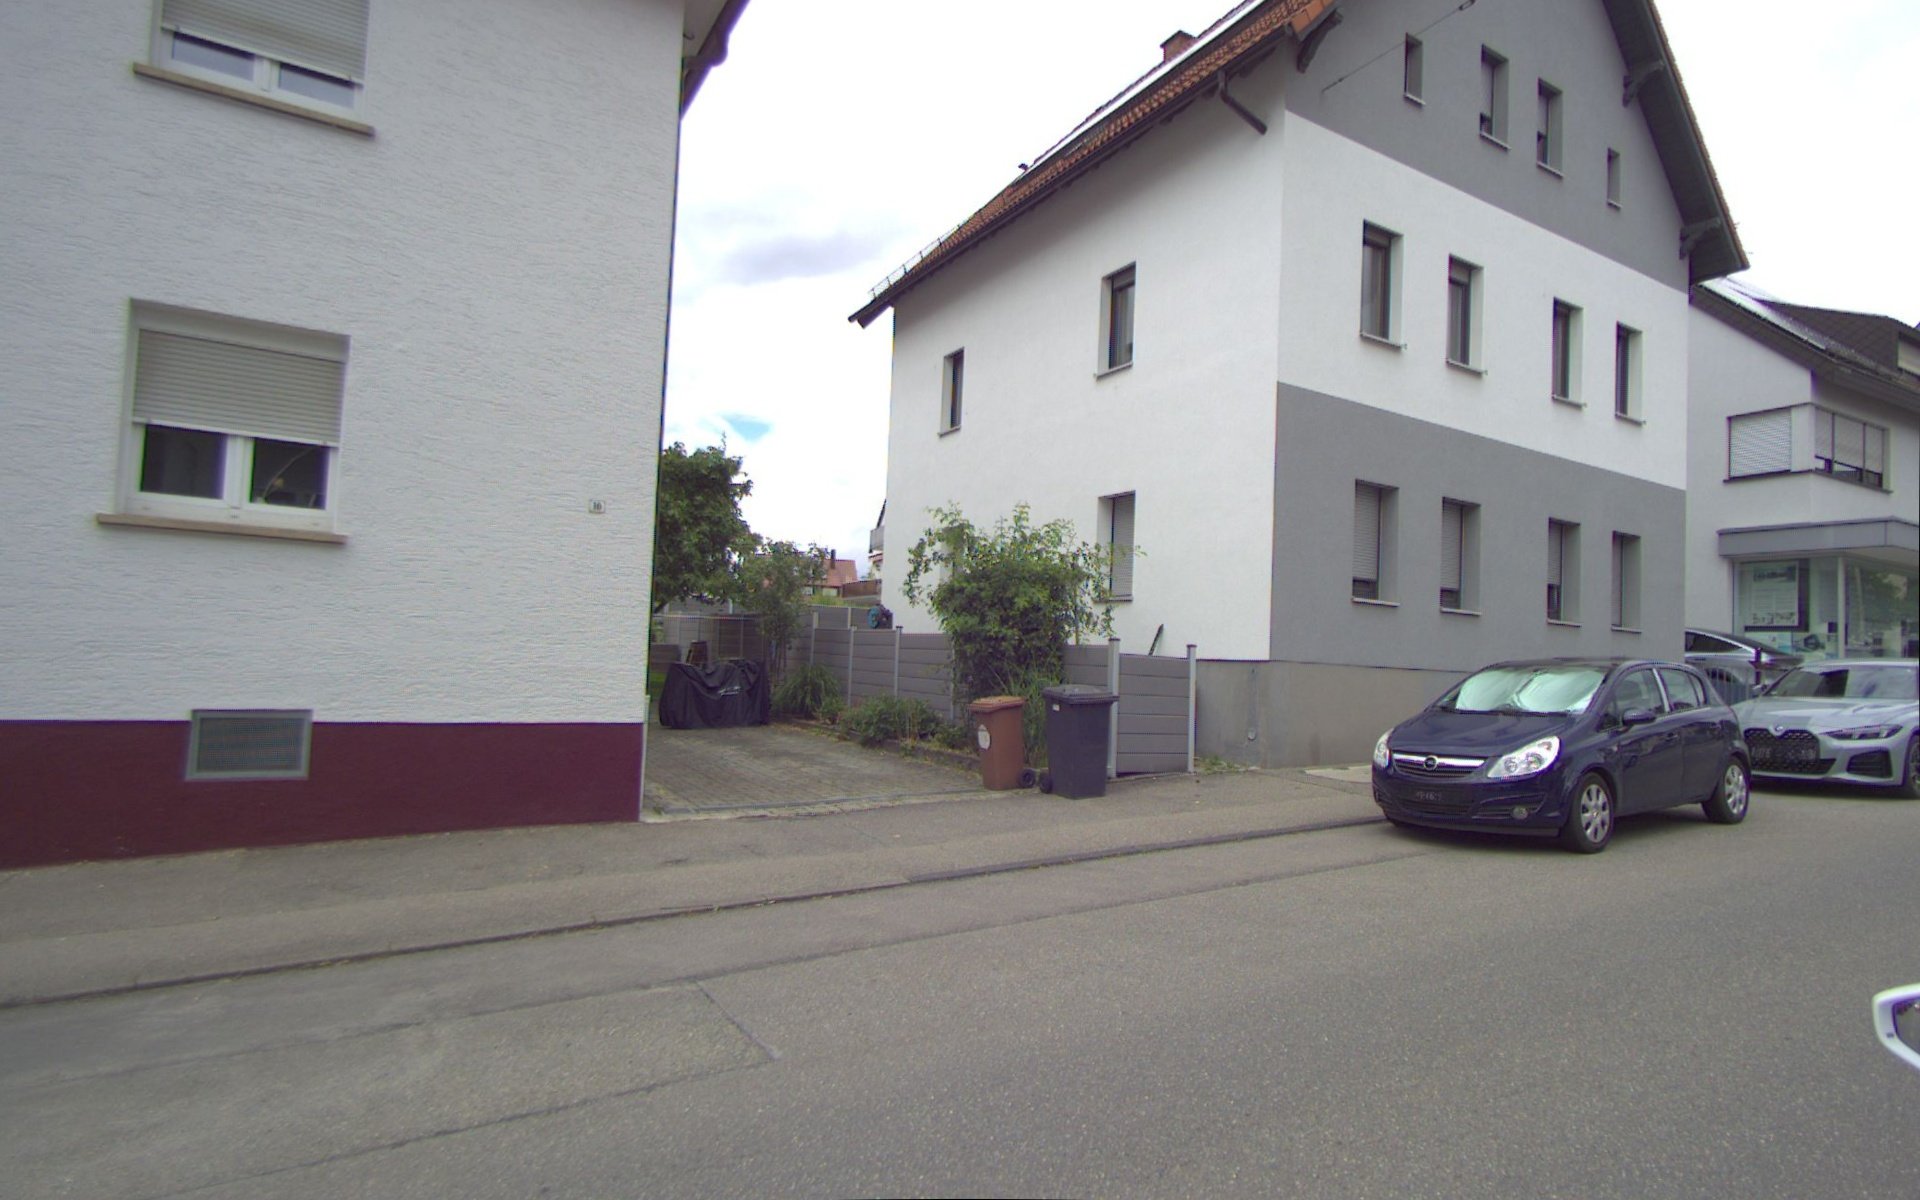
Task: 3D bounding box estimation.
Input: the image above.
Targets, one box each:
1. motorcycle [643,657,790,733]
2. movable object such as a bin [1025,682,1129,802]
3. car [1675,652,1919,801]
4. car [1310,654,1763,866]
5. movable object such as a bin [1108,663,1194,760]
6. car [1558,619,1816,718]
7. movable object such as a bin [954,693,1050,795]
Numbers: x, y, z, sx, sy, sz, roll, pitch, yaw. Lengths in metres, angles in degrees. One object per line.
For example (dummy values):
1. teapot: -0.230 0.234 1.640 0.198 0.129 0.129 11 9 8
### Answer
1. motorcycle: -3.862 1.476 16.108 0.763 1.062 2.219 1 0 43
2. movable object such as a bin: 1.144 1.369 9.861 0.750 1.059 0.674 2 0 -30
3. car: 10.565 1.359 11.863 4.417 1.464 1.829 2 -4 -31
4. car: 5.142 1.223 8.849 3.957 1.464 1.828 2 -4 -33
5. movable object such as a bin: 2.396 1.380 12.619 0.755 1.127 0.722 2 0 -30
6. car: 15.251 1.405 21.316 1.975 1.880 3.973 2 -3 -27
7. movable object such as a bin: 0.428 1.473 10.417 0.750 0.903 0.674 -1 1 -30
